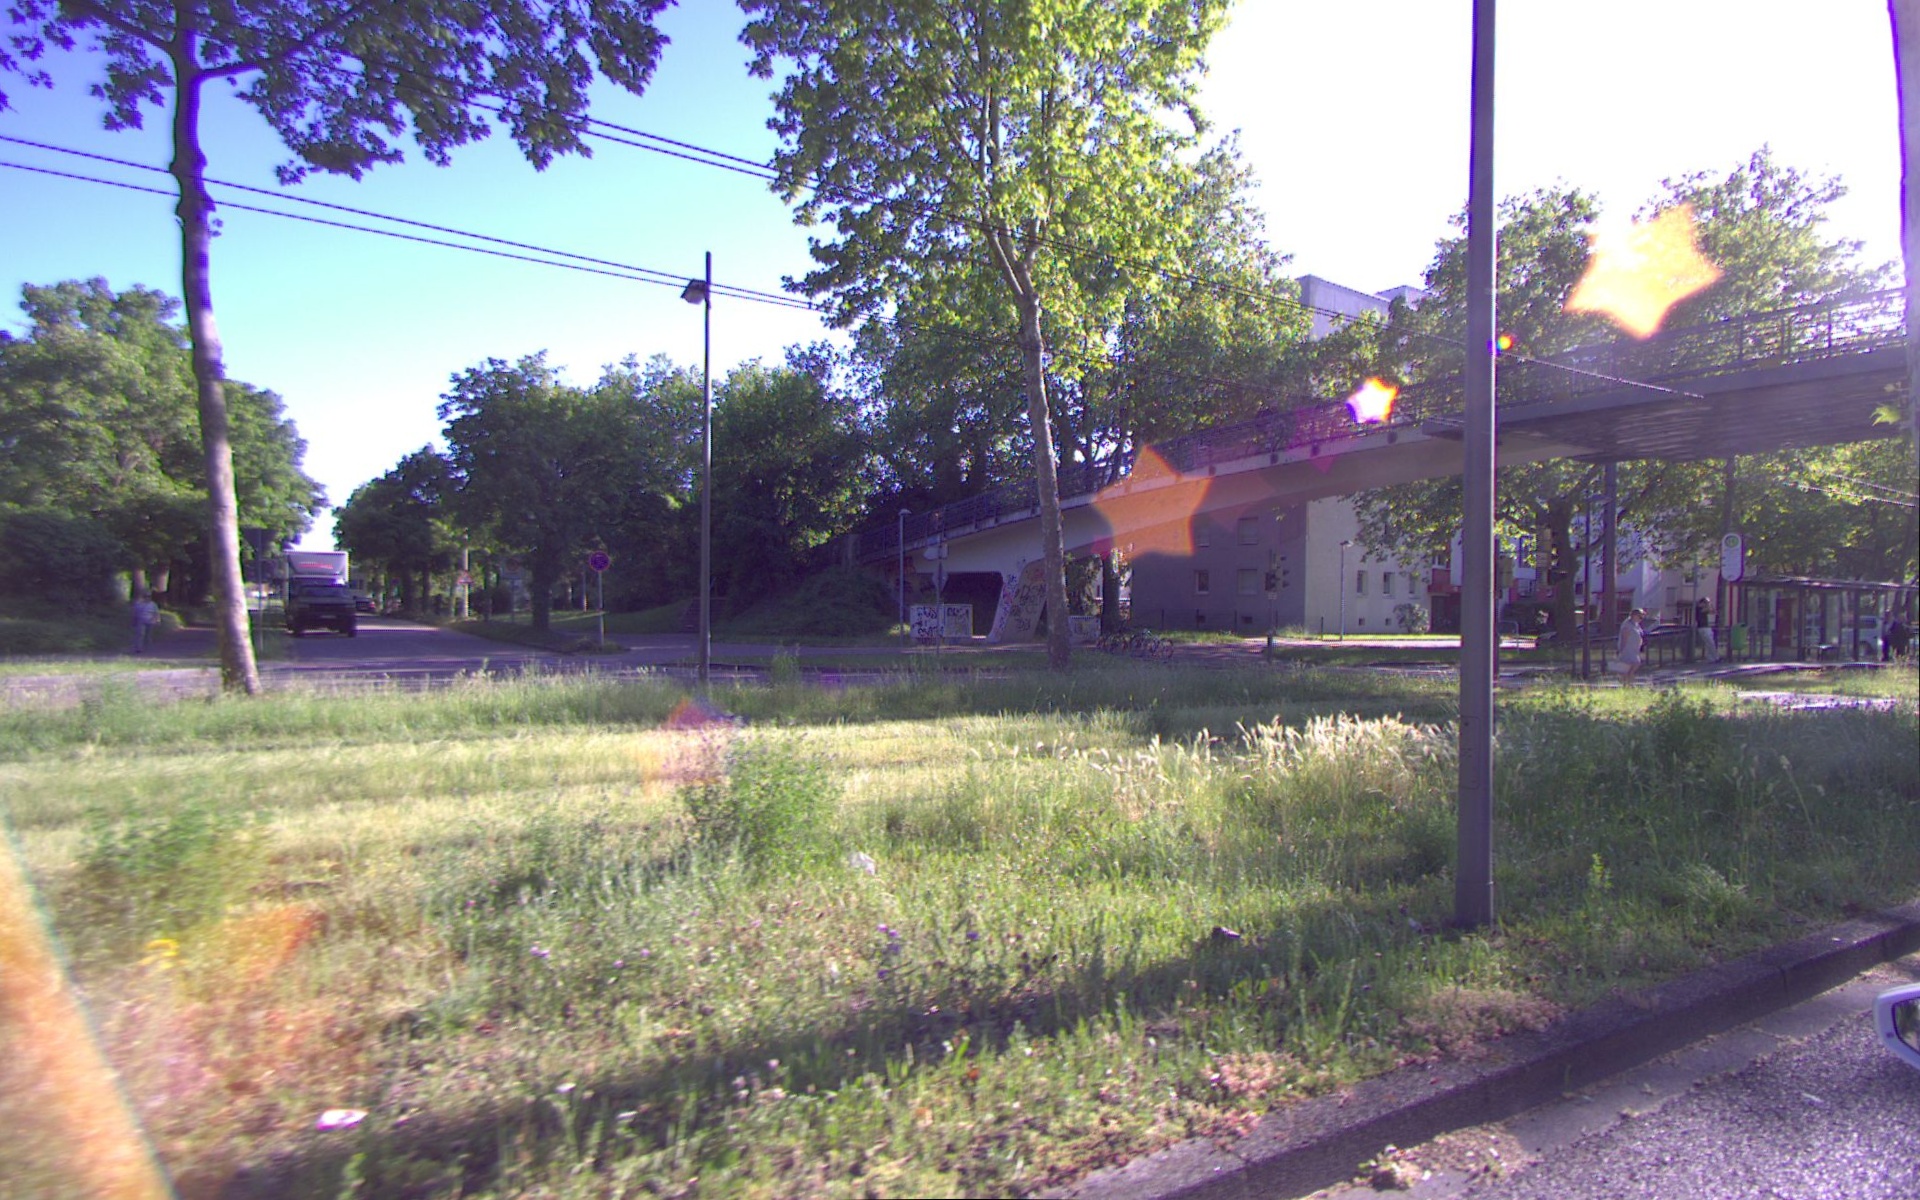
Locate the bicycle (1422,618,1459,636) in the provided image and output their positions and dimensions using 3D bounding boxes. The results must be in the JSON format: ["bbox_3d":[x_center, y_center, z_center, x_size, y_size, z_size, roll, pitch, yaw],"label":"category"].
[{"bbox_3d":[27.757,1.562,58.030,2.568,0.941,0.691,0,2,-33],"label":"bicycle"}]

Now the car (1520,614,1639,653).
[{"bbox_3d":[26.907,1.425,43.757,4.119,1.447,1.699,2,2,22],"label":"car"}]

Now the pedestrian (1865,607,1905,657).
[{"bbox_3d":[30.969,1.072,33.620,0.719,1.656,0.714,1,-1,-13],"label":"pedestrian"}]

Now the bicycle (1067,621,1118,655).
[{"bbox_3d":[4.172,1.185,31.548,1.666,1.022,0.432,1,1,-30],"label":"bicycle"}]

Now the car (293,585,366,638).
[{"bbox_3d":[-25.868,0.438,41.091,2.203,1.974,6.092,2,0,-35],"label":"car"}]

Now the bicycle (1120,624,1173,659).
[{"bbox_3d":[5.616,1.253,30.264,1.666,1.022,0.432,1,1,-30],"label":"bicycle"}]

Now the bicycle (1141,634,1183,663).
[{"bbox_3d":[5.799,1.383,28.792,1.160,0.789,0.432,1,1,-30],"label":"bicycle"}]

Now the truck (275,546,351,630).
[{"bbox_3d":[-32.061,-0.553,49.630,2.720,3.800,8.430,2,0,-35],"label":"truck"}]

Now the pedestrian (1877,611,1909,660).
[{"bbox_3d":[30.154,1.145,32.450,0.678,1.534,0.638,2,-2,-37],"label":"pedestrian"}]

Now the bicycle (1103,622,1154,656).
[{"bbox_3d":[5.335,1.229,31.756,1.666,1.022,0.432,1,1,-30],"label":"bicycle"}]

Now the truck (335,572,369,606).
[{"bbox_3d":[-62.289,-1.165,102.849,2.499,3.236,6.475,2,1,-35],"label":"truck"}]

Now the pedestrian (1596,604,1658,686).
[{"bbox_3d":[14.379,0.963,21.653,1.037,1.696,0.720,2,1,-33],"label":"pedestrian"}]

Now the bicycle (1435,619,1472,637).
[{"bbox_3d":[28.156,1.584,57.297,2.568,0.941,0.691,0,2,-33],"label":"bicycle"}]

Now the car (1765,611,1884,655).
[{"bbox_3d":[46.669,1.761,54.343,4.413,2.091,1.899,2,2,22],"label":"car"}]

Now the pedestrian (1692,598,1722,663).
[{"bbox_3d":[21.044,0.851,28.289,0.494,1.794,0.484,2,1,20],"label":"pedestrian"}]

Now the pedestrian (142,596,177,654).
[{"bbox_3d":[-21.321,0.656,26.768,0.579,1.511,0.532,2,1,-23],"label":"pedestrian"}]
